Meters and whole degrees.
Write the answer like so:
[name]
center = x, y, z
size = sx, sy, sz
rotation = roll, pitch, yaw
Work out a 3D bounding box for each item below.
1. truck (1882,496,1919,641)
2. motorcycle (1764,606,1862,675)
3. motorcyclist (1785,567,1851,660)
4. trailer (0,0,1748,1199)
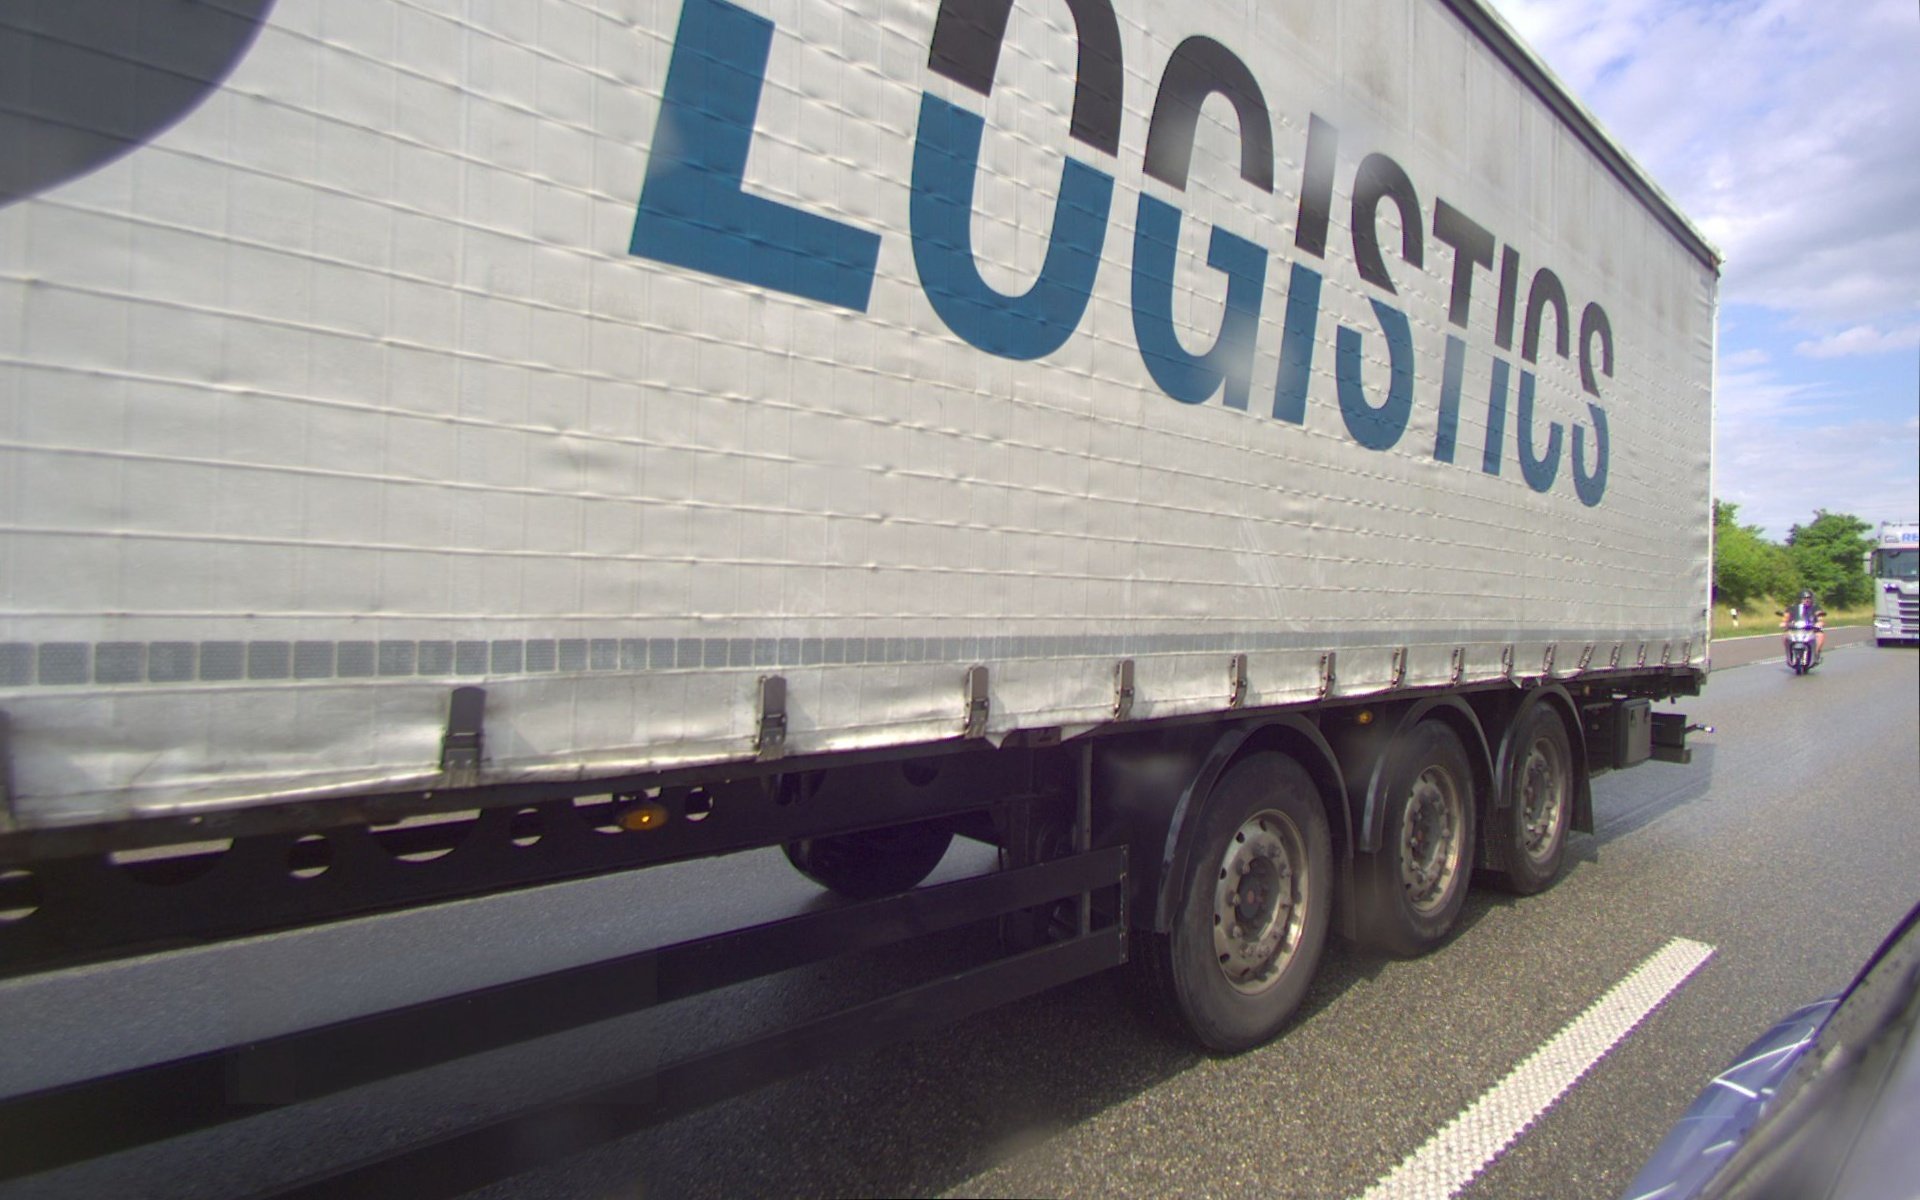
[truck]
center = 31.439, -0.986, 32.283
size = 6.773, 4.328, 2.645
rotation = -1, 1, -45
[motorcycle]
center = 16.546, 0.739, 19.592
size = 3.143, 1.163, 1.185
rotation = -1, 1, -45
[motorcyclist]
center = 16.607, 0.243, 19.590
size = 0.984, 1.727, 0.882
rotation = -1, 0, -43
[trailer]
center = -0.742, -0.606, 3.636
size = 13.886, 3.948, 3.288
rotation = 0, 0, -42
